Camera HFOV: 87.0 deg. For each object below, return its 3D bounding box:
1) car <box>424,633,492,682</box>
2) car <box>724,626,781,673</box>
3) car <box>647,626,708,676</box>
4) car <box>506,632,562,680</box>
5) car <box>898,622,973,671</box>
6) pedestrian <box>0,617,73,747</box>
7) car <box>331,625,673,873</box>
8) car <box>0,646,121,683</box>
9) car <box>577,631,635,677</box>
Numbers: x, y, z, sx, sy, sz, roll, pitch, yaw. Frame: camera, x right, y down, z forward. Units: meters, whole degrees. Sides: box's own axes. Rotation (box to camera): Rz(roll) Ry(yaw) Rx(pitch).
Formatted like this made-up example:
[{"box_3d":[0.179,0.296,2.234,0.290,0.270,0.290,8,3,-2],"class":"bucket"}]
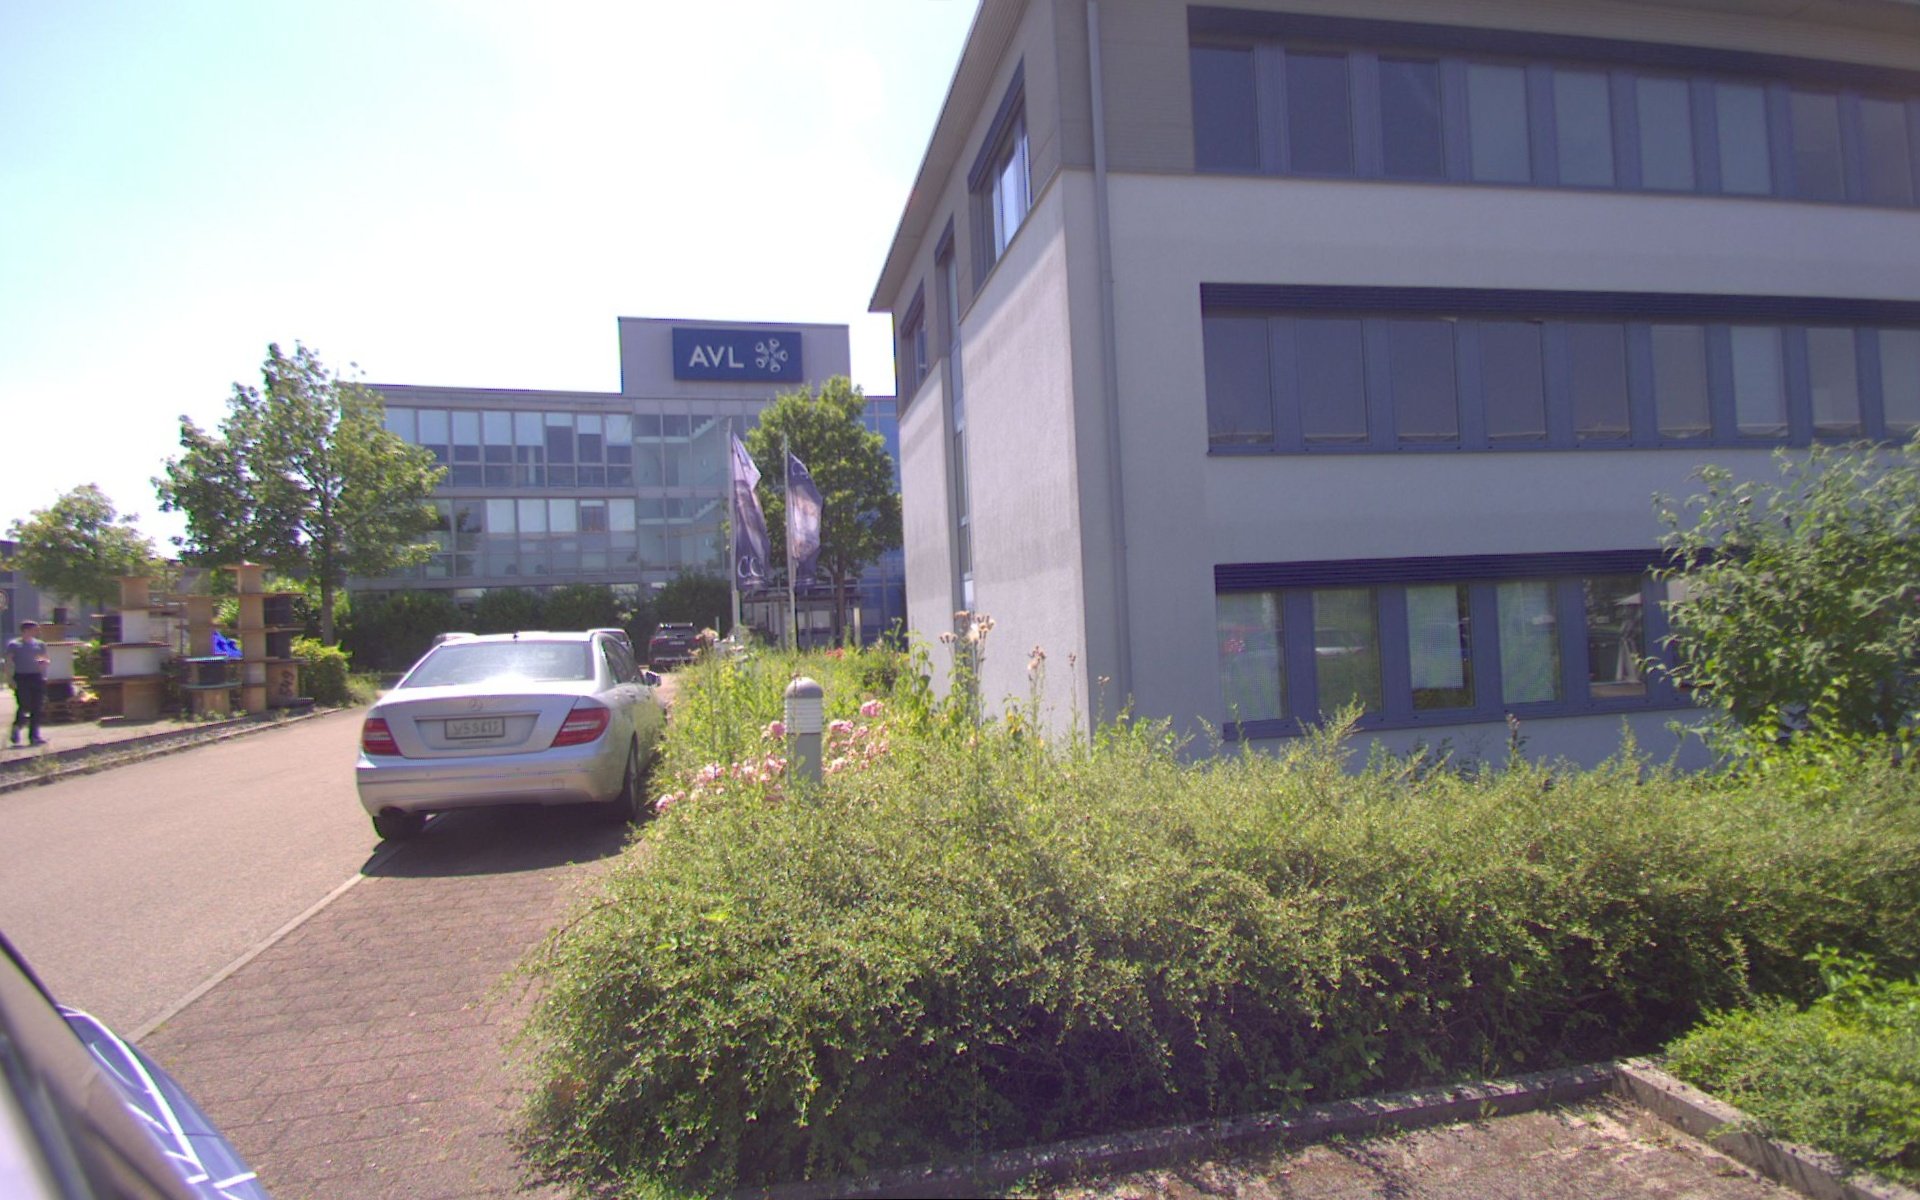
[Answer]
[{"box_3d":[-16.238,1.824,32.867,1.497,1.457,3.429,0,-2,-18],"class":"car"},{"box_3d":[-7.408,1.728,35.880,1.702,1.495,4.409,-1,-2,-15],"class":"car"},{"box_3d":[-9.831,1.713,35.173,1.907,1.615,3.871,0,-1,-16],"class":"car"},{"box_3d":[-14.110,1.809,33.620,1.615,1.463,3.612,0,-2,-22],"class":"car"},{"box_3d":[-0.976,1.700,37.552,1.802,1.650,4.183,-1,-2,-15],"class":"car"},{"box_3d":[-13.422,1.152,14.478,0.762,1.782,0.805,-2,-1,15],"class":"pedestrian"},{"box_3d":[-3.415,0.980,8.365,1.706,1.468,4.157,-1,-2,-12],"class":"car"},{"box_3d":[-40.283,2.882,45.124,4.354,1.487,1.780,-2,-2,2],"class":"car"},{"box_3d":[-12.198,1.807,34.775,1.702,1.463,3.612,0,-1,-22],"class":"car"}]
